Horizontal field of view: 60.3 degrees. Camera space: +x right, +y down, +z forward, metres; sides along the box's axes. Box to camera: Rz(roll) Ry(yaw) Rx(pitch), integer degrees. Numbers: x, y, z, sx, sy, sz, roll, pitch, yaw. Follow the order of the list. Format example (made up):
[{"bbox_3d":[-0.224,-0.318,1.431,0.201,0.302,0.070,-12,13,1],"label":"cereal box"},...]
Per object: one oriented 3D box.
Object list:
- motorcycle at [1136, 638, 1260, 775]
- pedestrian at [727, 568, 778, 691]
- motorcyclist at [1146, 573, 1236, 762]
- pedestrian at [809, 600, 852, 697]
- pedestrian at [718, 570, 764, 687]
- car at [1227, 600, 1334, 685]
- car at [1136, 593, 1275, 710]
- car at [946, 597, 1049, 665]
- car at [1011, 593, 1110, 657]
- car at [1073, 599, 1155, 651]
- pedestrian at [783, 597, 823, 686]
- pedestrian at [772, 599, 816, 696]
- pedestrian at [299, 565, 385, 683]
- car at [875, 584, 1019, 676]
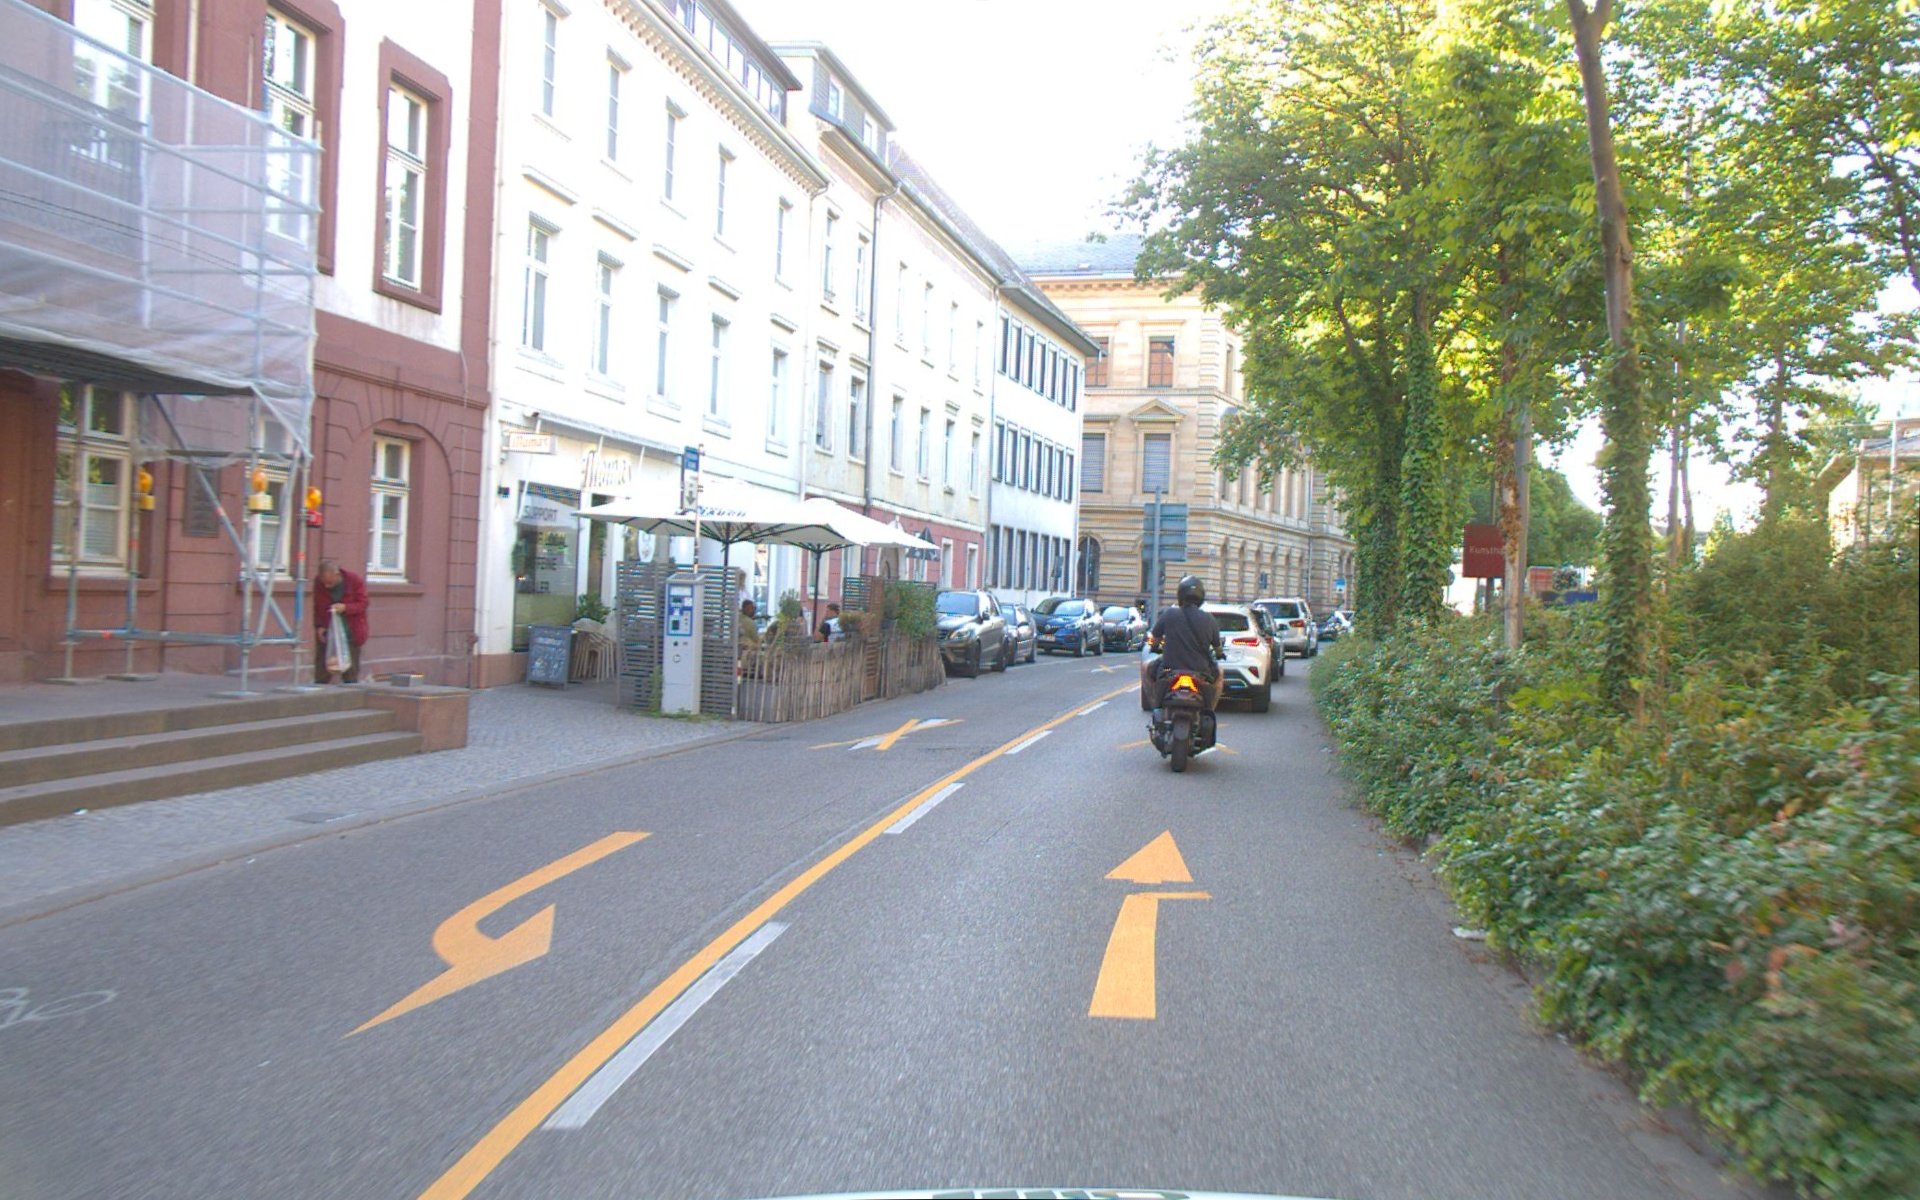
[{"bbox_3d":[2.154,0.943,15.180,0.780,1.084,1.724,3,0,-2],"label":"motorcycle"},{"bbox_3d":[-3.127,0.438,24.947,0.583,1.806,0.439,2,0,19],"label":"pedestrian"},{"bbox_3d":[2.124,0.606,15.265,0.644,1.679,0.650,3,0,-1],"label":"motorcyclist"},{"bbox_3d":[-1.991,0.743,25.443,0.460,1.458,0.502,2,0,15],"label":"pedestrian"},{"bbox_3d":[-3.465,0.447,26.212,0.429,1.806,0.597,2,0,24],"label":"pedestrian"},{"bbox_3d":[6.481,0.808,33.193,1.801,1.489,4.060,3,0,14],"label":"car"},{"bbox_3d":[3.687,0.695,24.433,1.811,1.506,4.061,2,0,10],"label":"car"},{"bbox_3d":[0.972,0.719,39.958,1.618,1.506,4.431,1,0,13],"label":"car"},{"bbox_3d":[2.958,0.692,47.645,1.893,1.696,4.349,1,0,16],"label":"car"},{"bbox_3d":[5.159,0.805,54.884,1.785,1.530,4.763,3,1,16],"label":"car"},{"bbox_3d":[-2.539,0.663,26.757,0.512,1.415,0.488,2,0,8],"label":"pedestrian"},{"bbox_3d":[-2.481,0.708,24.763,0.512,1.415,0.488,2,0,8],"label":"pedestrian"},{"bbox_3d":[-5.844,0.221,15.654,0.525,1.071,0.552,3,0,6],"label":"pedestrian"},{"bbox_3d":[-0.174,0.581,34.019,1.881,1.709,4.789,1,0,13],"label":"car"}]
